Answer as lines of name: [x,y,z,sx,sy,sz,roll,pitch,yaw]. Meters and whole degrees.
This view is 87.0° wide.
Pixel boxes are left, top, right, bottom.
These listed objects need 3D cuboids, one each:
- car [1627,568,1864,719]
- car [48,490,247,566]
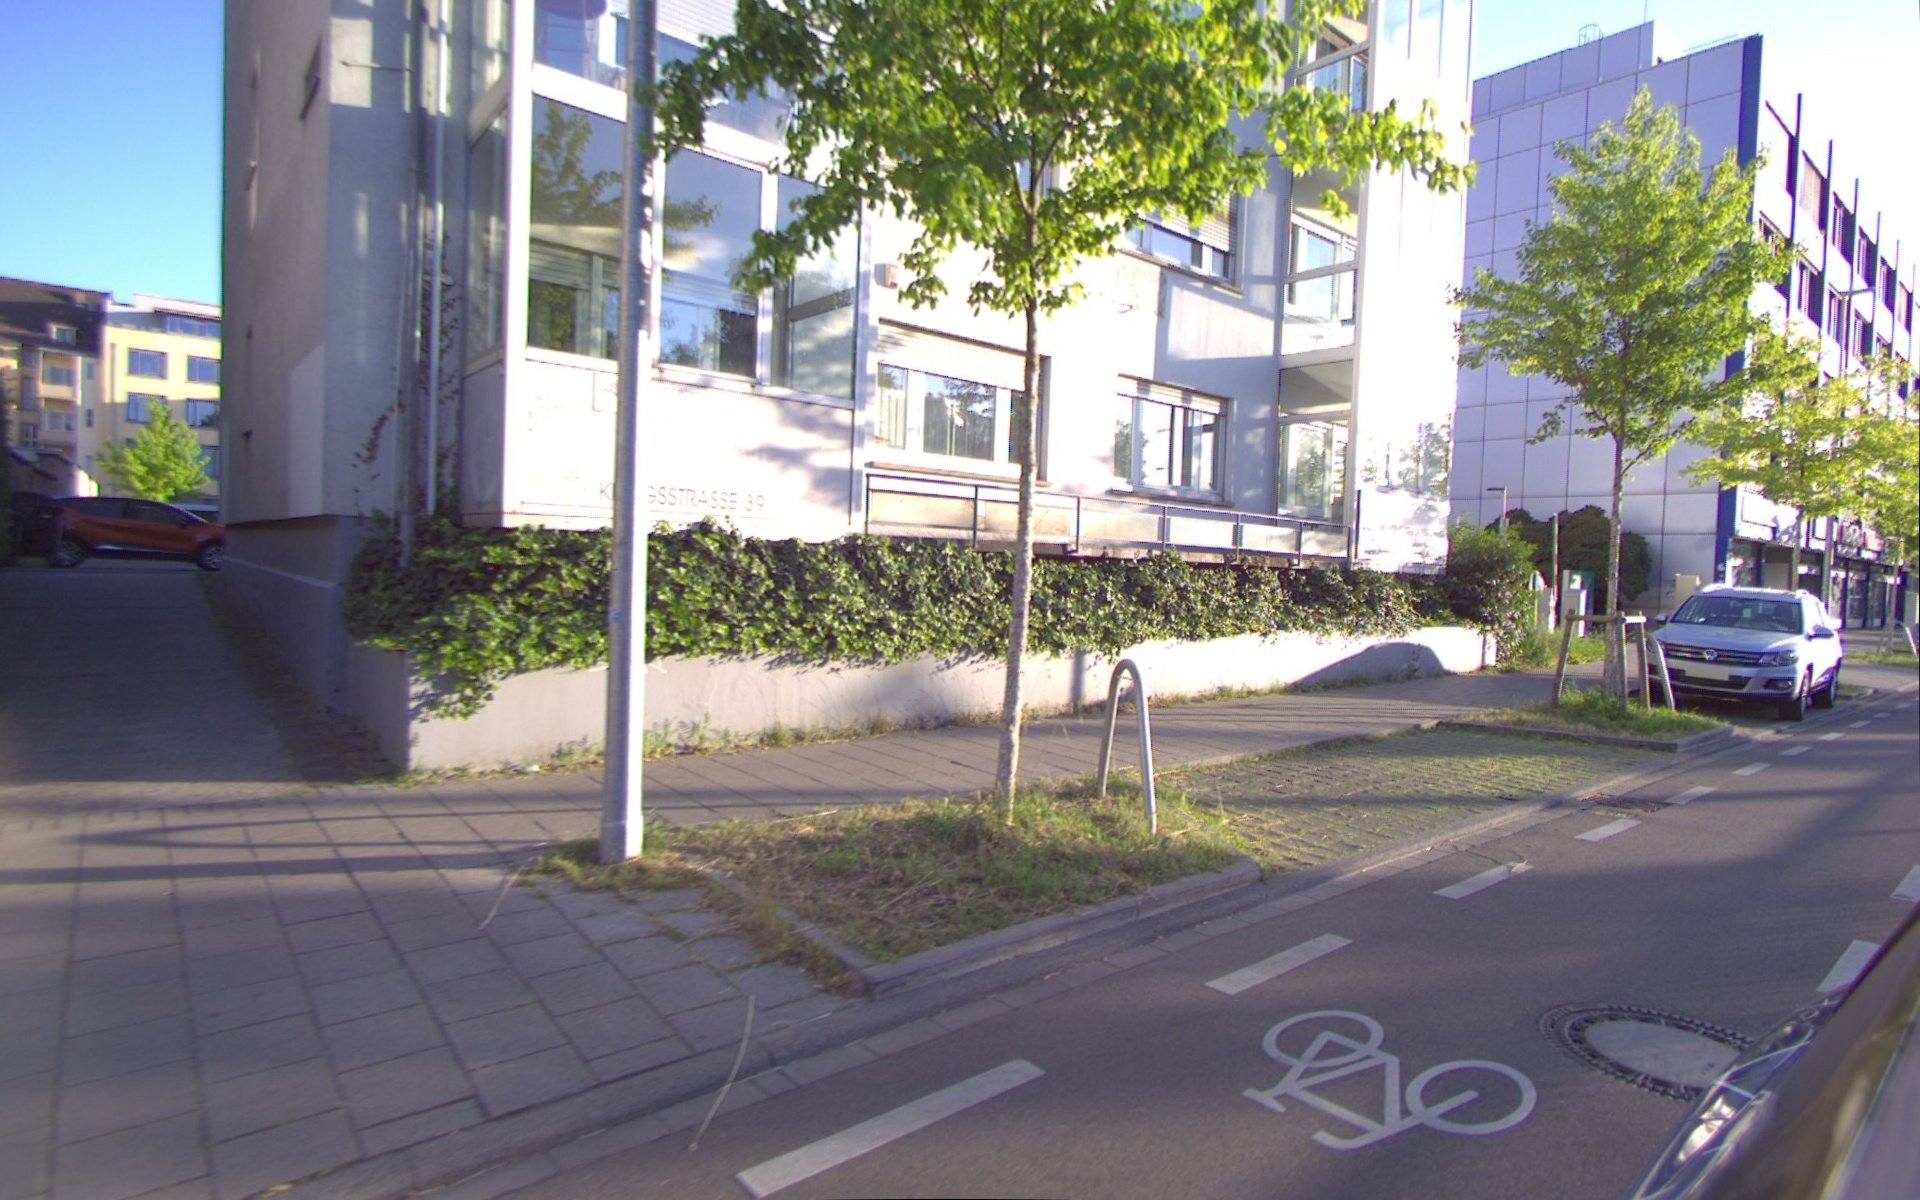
car: [11.158,0.512,14.270,4.181,1.727,1.858,0,4,-42]
car: [-17.952,-1.541,22.455,3.328,1.470,1.627,0,2,-41]
